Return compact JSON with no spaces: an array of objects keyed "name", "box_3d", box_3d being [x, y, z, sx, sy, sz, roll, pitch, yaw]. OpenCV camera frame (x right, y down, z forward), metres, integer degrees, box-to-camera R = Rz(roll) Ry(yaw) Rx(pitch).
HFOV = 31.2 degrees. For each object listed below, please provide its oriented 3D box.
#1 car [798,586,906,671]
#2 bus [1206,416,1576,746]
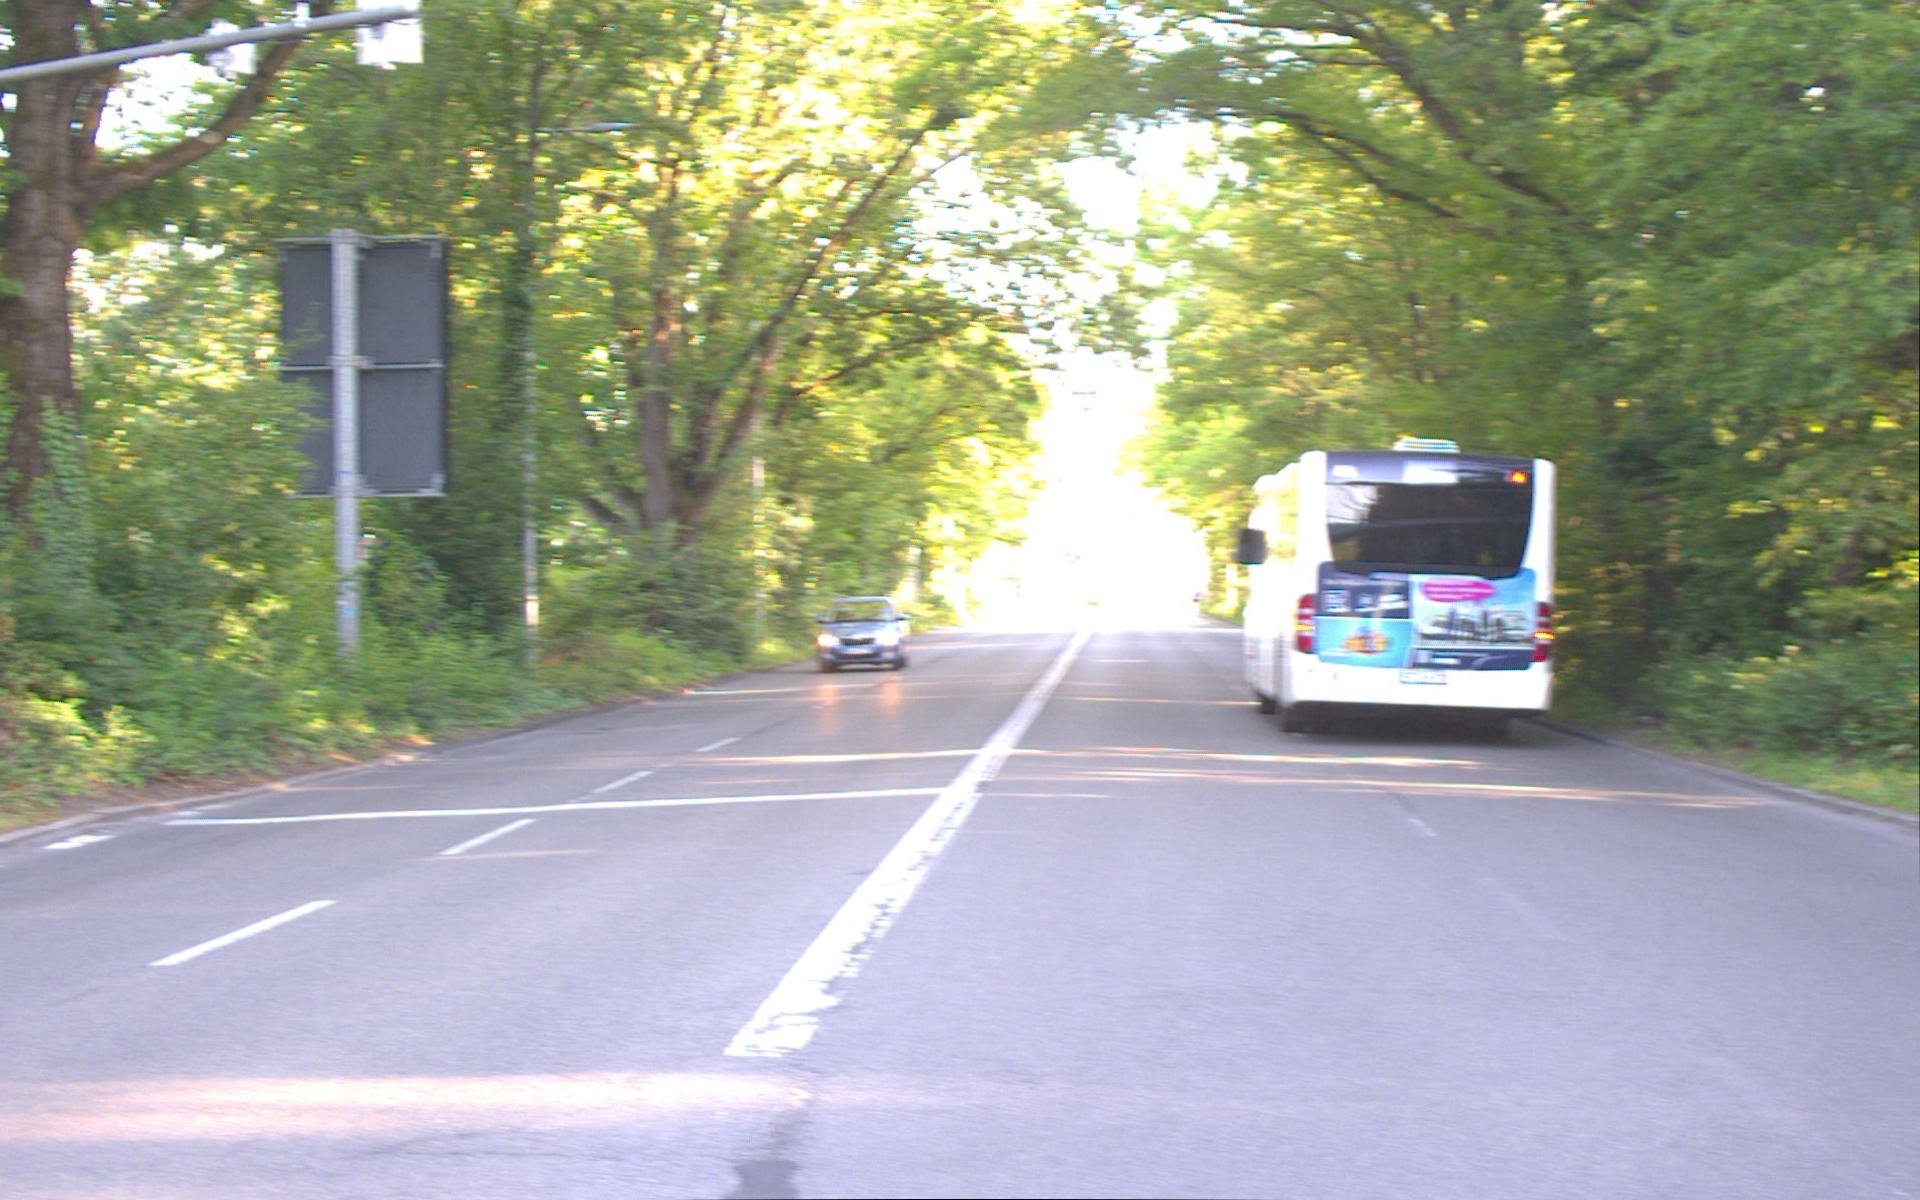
[{"name":"car","box_3d":[-2.159,0.557,69.562,1.807,1.574,4.319,-3,0,2]},{"name":"bus","box_3d":[4.600,-0.220,39.366,3.012,3.077,12.269,2,0,2]}]
